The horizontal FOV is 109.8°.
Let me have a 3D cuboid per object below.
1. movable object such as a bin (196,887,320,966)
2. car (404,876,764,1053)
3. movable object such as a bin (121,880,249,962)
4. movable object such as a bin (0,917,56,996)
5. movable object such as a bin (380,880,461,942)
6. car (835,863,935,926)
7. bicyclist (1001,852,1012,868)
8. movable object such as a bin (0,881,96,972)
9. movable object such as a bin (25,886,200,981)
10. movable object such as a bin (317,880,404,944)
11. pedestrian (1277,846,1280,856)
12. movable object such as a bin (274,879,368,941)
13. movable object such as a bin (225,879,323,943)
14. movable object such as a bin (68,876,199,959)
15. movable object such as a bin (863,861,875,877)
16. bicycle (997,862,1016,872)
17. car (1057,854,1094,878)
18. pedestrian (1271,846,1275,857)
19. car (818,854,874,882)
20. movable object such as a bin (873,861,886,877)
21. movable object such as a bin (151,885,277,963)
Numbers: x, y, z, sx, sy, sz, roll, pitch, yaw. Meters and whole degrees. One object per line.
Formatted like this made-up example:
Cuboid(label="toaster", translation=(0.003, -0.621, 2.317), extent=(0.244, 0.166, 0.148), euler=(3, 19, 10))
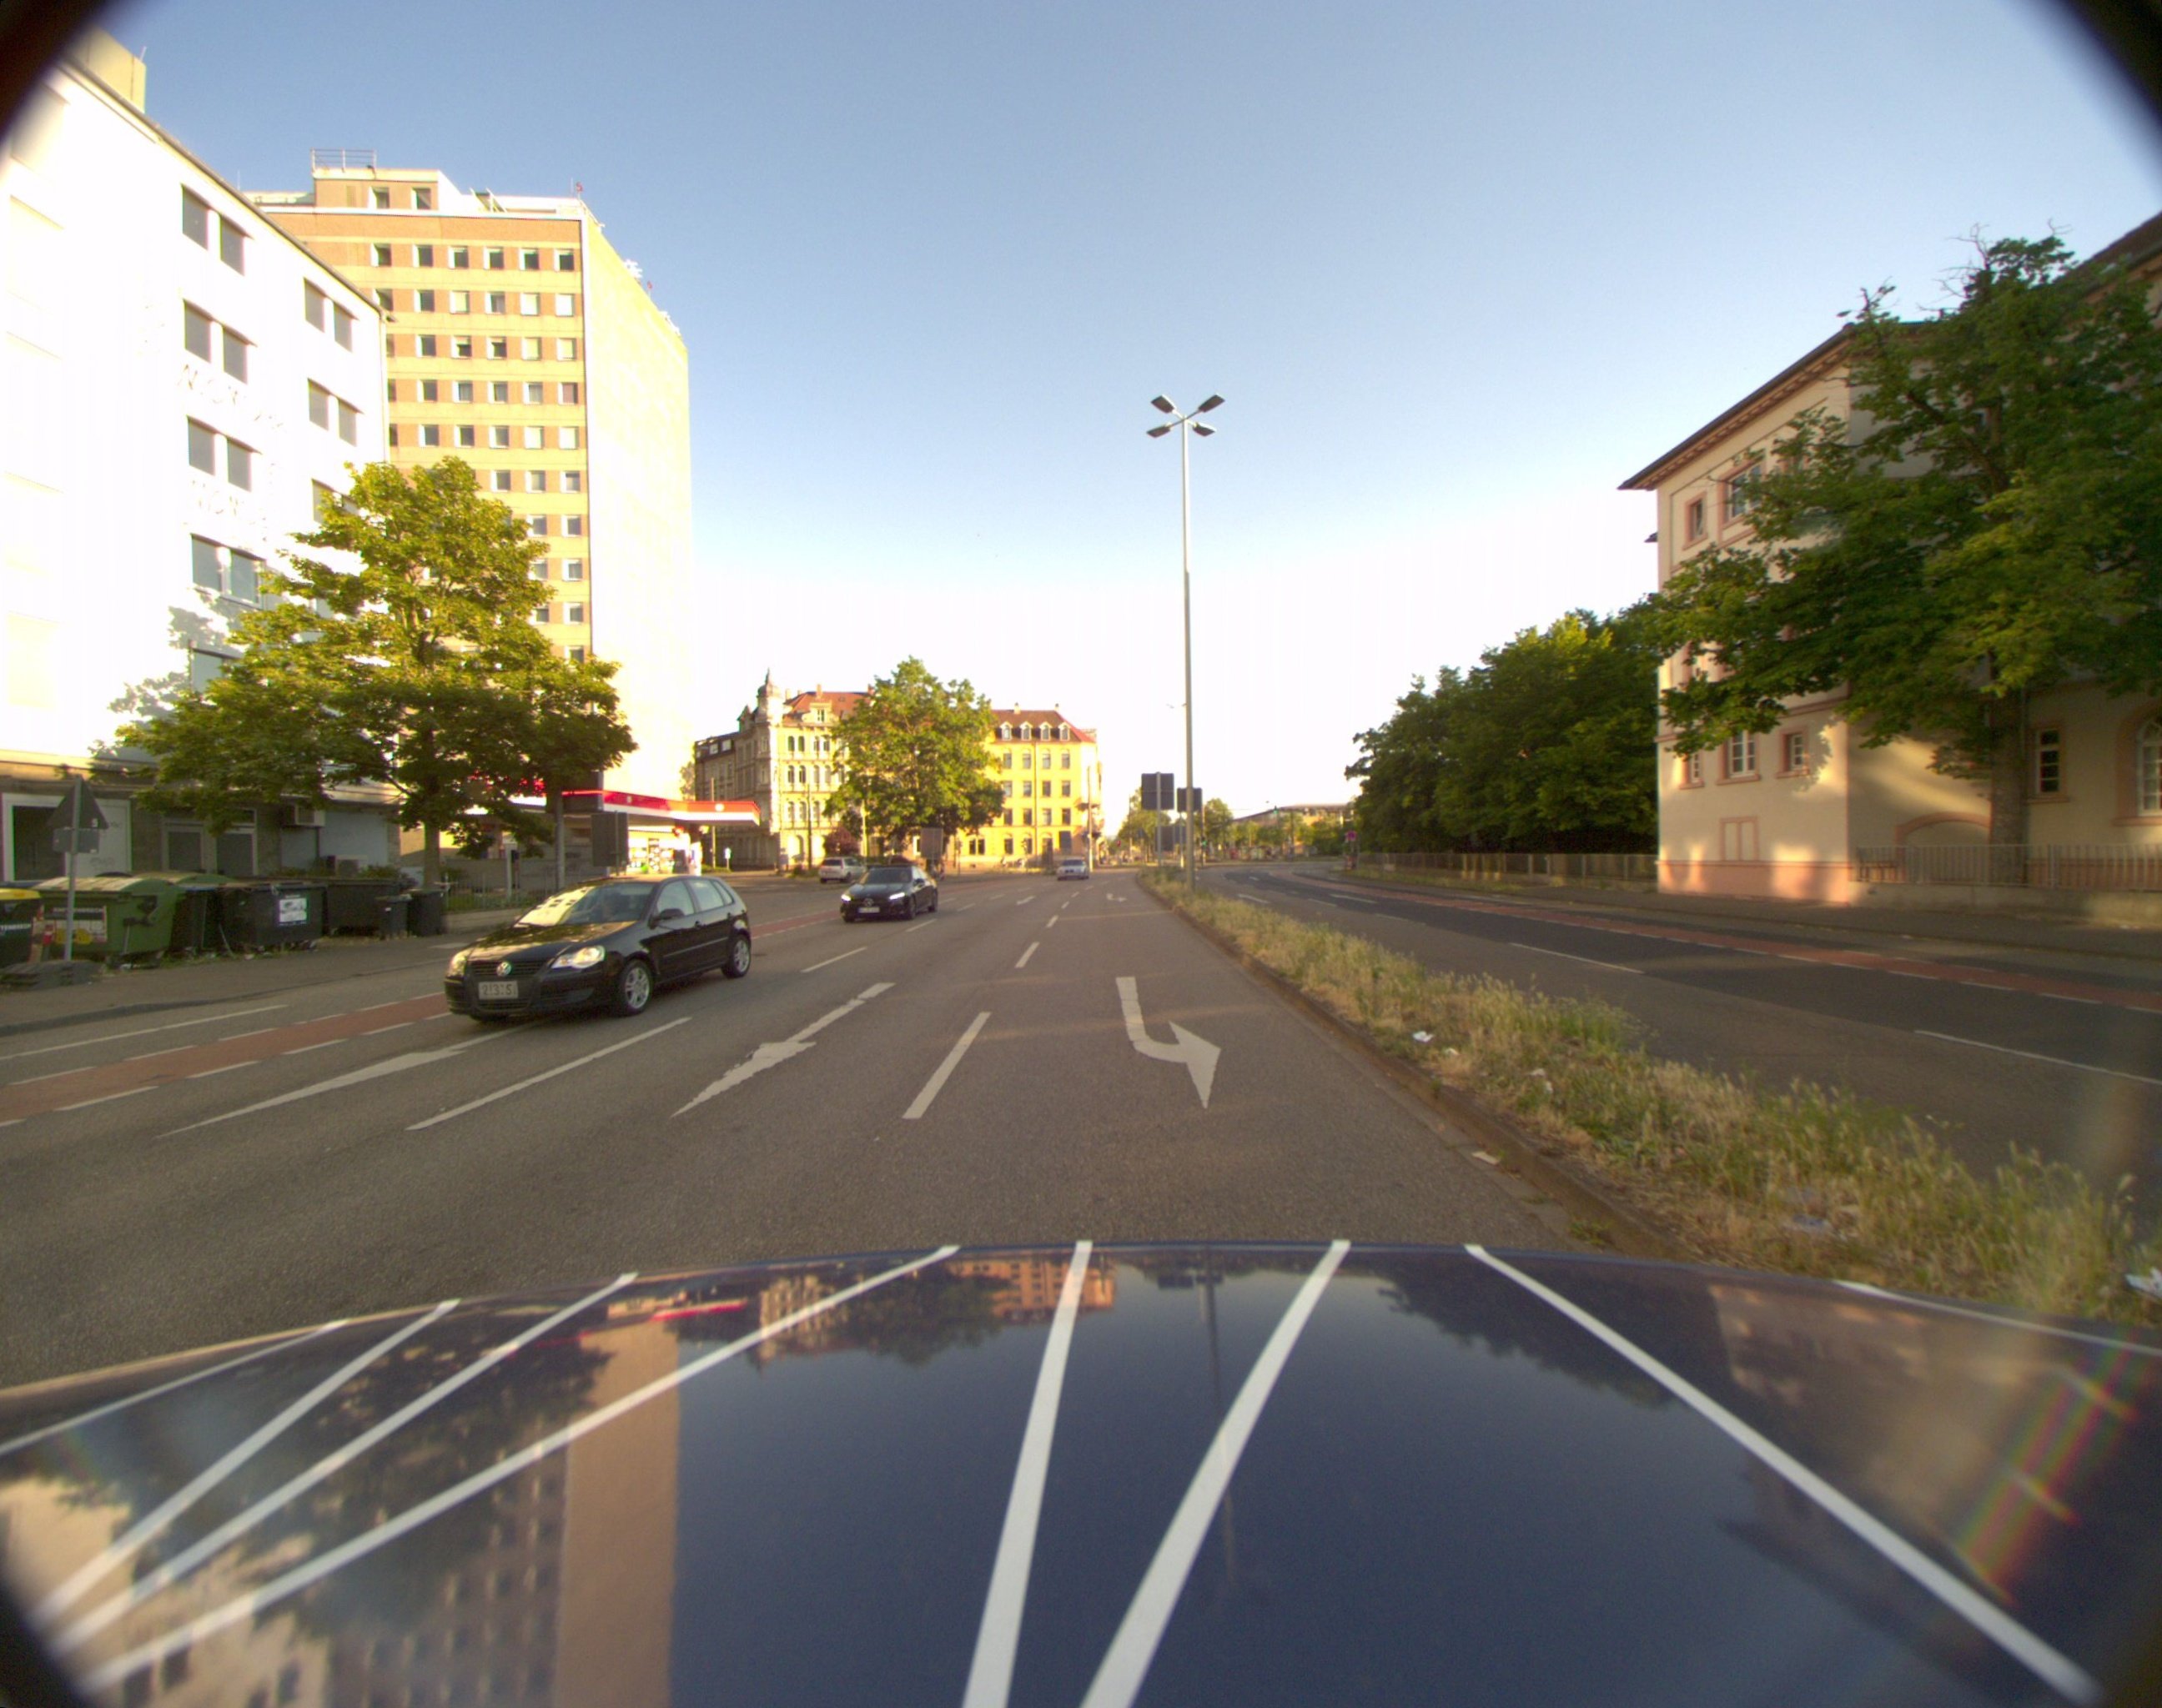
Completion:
Cuboid(label="movable object such as a bin", translation=(-14.959, 1.290, 13.853), extent=(0.956, 1.320, 1.162), euler=(-1, 1, -2))
Cuboid(label="car", translation=(-5.365, 1.074, 8.902), extent=(1.584, 1.441, 3.872), euler=(-2, 0, 1))
Cuboid(label="movable object such as a bin", translation=(-17.120, 1.251, 14.562), extent=(1.034, 1.440, 1.162), euler=(-1, 1, -2))
Cuboid(label="movable object such as a bin", translation=(-15.510, 1.461, 10.745), extent=(0.853, 1.039, 0.819), euler=(-1, 1, -4))
Cuboid(label="movable object such as a bin", translation=(-14.876, 1.268, 17.135), extent=(0.956, 1.320, 0.953), euler=(-1, 1, -2))
Cuboid(label="car", translation=(-5.204, 1.022, 20.689), extent=(1.732, 1.441, 4.044), euler=(-2, 0, -2))
Cuboid(label="bicyclist", translation=(-7.661, 0.589, 77.947), extent=(1.065, 1.639, 0.732), euler=(-1, 1, -7))
Cuboid(label="movable object such as a bin", translation=(-18.686, 1.261, 13.404), extent=(1.034, 1.490, 1.162), euler=(-1, 1, -2))
Cuboid(label="movable object such as a bin", translation=(-15.808, 1.264, 12.457), extent=(1.351, 1.415, 1.105), euler=(-1, 1, -4))
Cuboid(label="movable object such as a bin", translation=(-15.855, 1.266, 16.748), extent=(0.956, 1.320, 0.953), euler=(-1, 1, -2))
Cuboid(label="pedestrian", translation=(34.923, -0.484, 134.365), extent=(0.467, 1.695, 0.419), euler=(-1, 1, 1))
Cuboid(label="movable object such as a bin", translation=(-16.929, 1.236, 16.958), extent=(0.956, 1.276, 1.098), euler=(-1, 1, -2))
Cuboid(label="movable object such as a bin", translation=(-17.926, 1.249, 16.915), extent=(0.956, 1.320, 1.098), euler=(-1, 1, -2))
Cuboid(label="movable object such as a bin", translation=(-18.296, 1.189, 14.716), extent=(1.034, 1.490, 1.162), euler=(-1, 1, -2))
Cuboid(label="movable object such as a bin", translation=(-13.864, 0.994, 49.764), extent=(0.544, 1.013, 0.688), euler=(-1, 1, 5))
Cuboid(label="bicycle", translation=(-7.635, 1.330, 77.874), extent=(1.927, 1.053, 0.451), euler=(-1, 1, -7))
Cuboid(label="car", translation=(-0.296, 0.760, 49.172), extent=(1.673, 1.410, 4.443), euler=(-2, 0, 9))
Cuboid(label="pedestrian", translation=(33.974, -0.409, 134.506), extent=(0.556, 2.002, 0.664), euler=(-1, 1, 1))
Cuboid(label="car", translation=(-13.950, 0.824, 45.274), extent=(1.688, 1.508, 3.798), euler=(-1, 1, 8))
Cuboid(label="movable object such as a bin", translation=(-13.143, 0.979, 49.553), extent=(0.544, 1.013, 0.688), euler=(-1, 1, 5))
Cuboid(label="movable object such as a bin", translation=(-16.036, 1.272, 14.093), extent=(0.956, 1.320, 1.162), euler=(-1, 1, -2))
